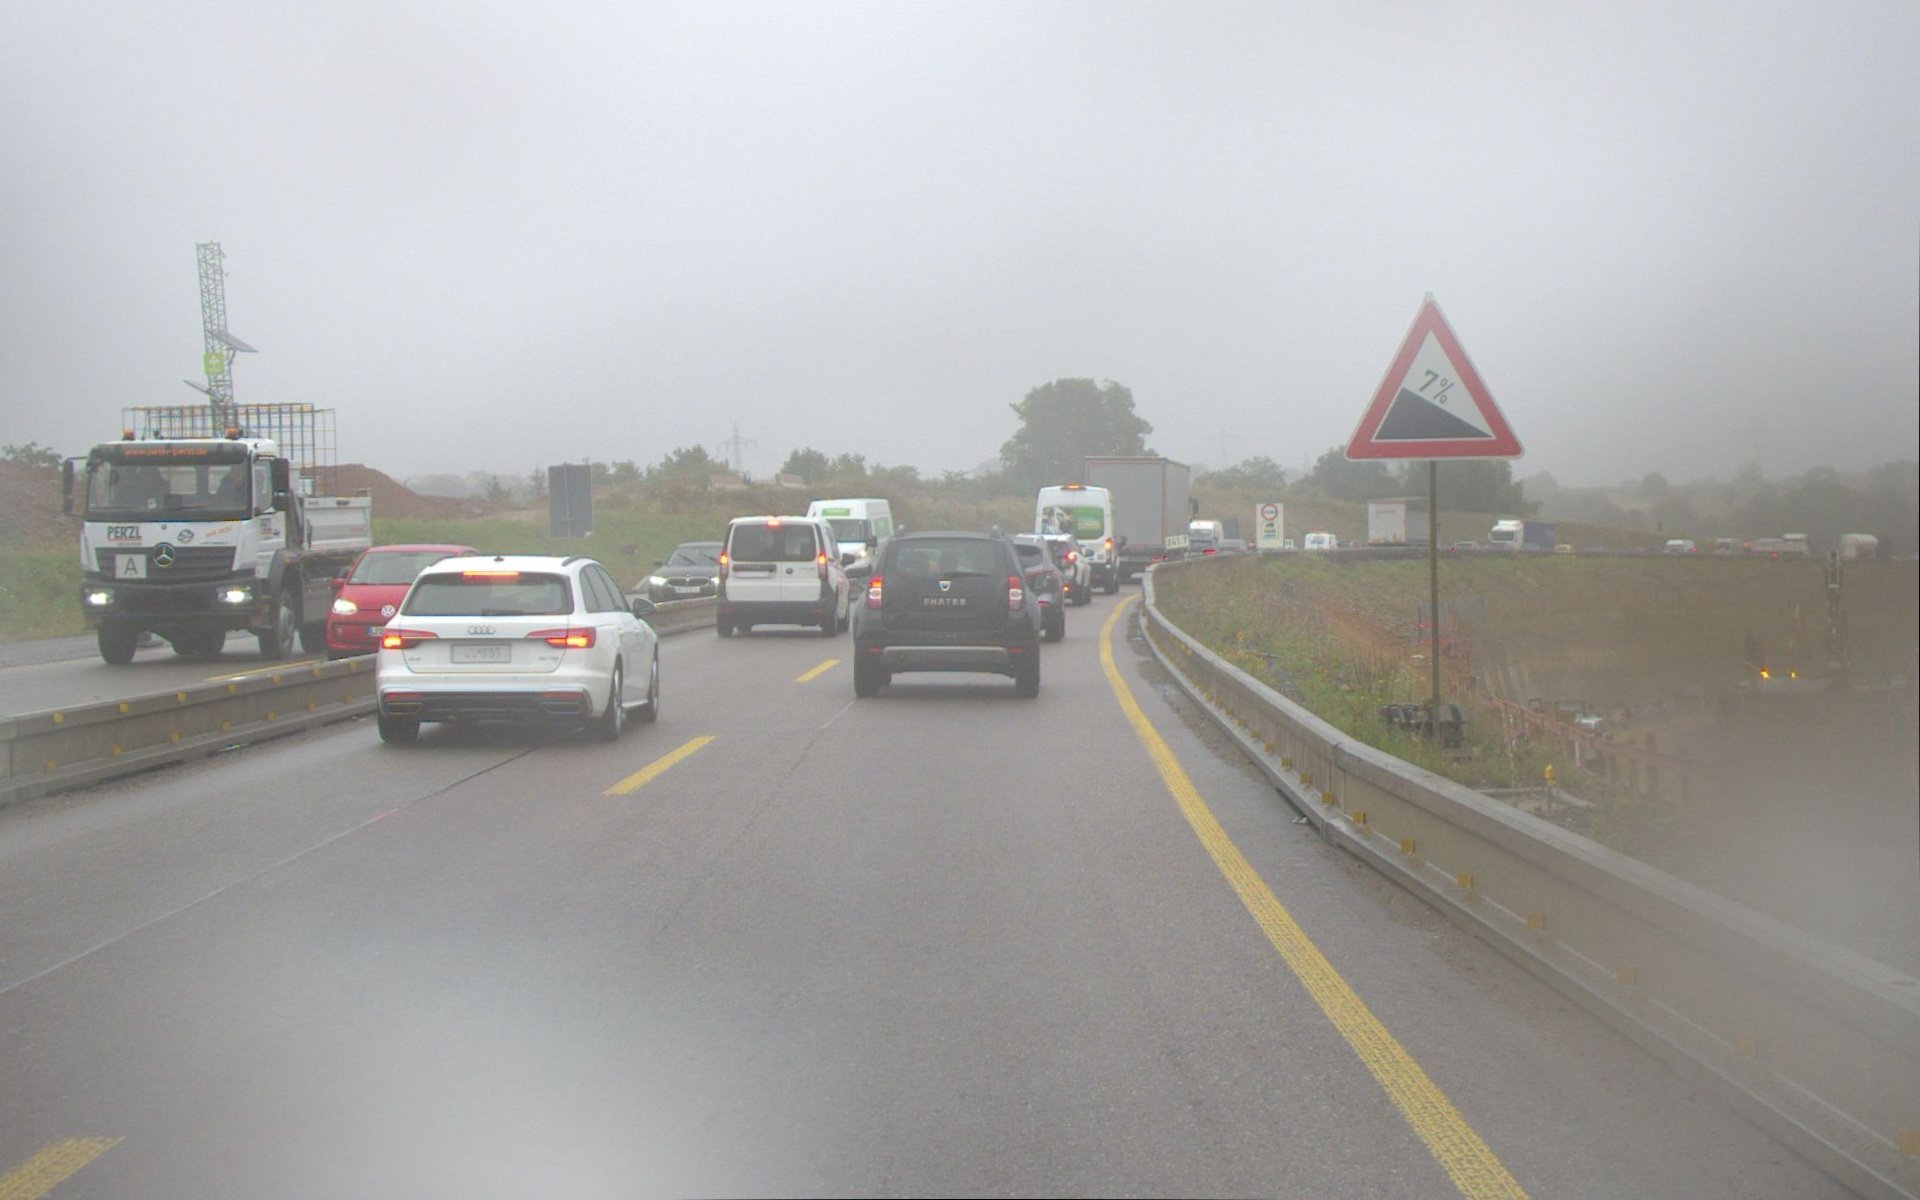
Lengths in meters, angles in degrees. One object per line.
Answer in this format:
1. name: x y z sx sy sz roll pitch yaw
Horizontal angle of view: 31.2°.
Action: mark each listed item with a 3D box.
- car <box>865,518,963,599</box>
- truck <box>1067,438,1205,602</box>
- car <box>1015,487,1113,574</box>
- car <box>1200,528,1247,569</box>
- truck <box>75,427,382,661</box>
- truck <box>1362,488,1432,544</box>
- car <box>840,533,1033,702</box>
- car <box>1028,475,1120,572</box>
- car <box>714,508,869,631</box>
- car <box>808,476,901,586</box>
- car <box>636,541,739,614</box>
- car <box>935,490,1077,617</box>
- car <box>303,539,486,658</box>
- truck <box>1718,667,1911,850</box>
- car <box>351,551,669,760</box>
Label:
1. car: -1.046 -0.959 80.423 1.827 1.809 3.999 1 0 6
2. truck: 5.834 -2.534 111.984 3.545 5.060 10.438 1 0 8
3. car: 2.296 -1.490 74.910 1.827 1.809 3.999 1 0 6
4. car: 14.155 -2.761 184.568 2.036 2.106 4.156 1 0 11
5. truck: -9.655 -0.759 46.041 2.359 2.884 6.548 -1 1 3
6. truck: 29.631 -5.705 232.797 3.475 3.702 8.411 0 1 16
7. car: -0.182 0.148 34.783 1.826 1.585 4.000 1 0 1
8. car: 2.982 -1.948 89.077 1.827 2.429 4.156 1 0 10
9. car: -2.565 -0.472 53.283 1.826 1.809 3.999 1 0 5
10. car: -3.007 -2.000 99.259 1.994 3.035 7.171 1 1 4
11. car: -5.728 -0.498 72.736 1.747 1.490 4.750 0 1 1
12. car: 0.736 -0.691 51.850 1.826 1.809 3.999 1 0 5
13. car: -6.953 -0.039 42.574 1.637 1.392 3.592 1 1 0
14. truck: 18.618 3.345 75.426 2.700 3.491 8.946 1 0 5
15. car: -3.448 0.386 27.020 1.826 1.494 4.000 1 0 2
